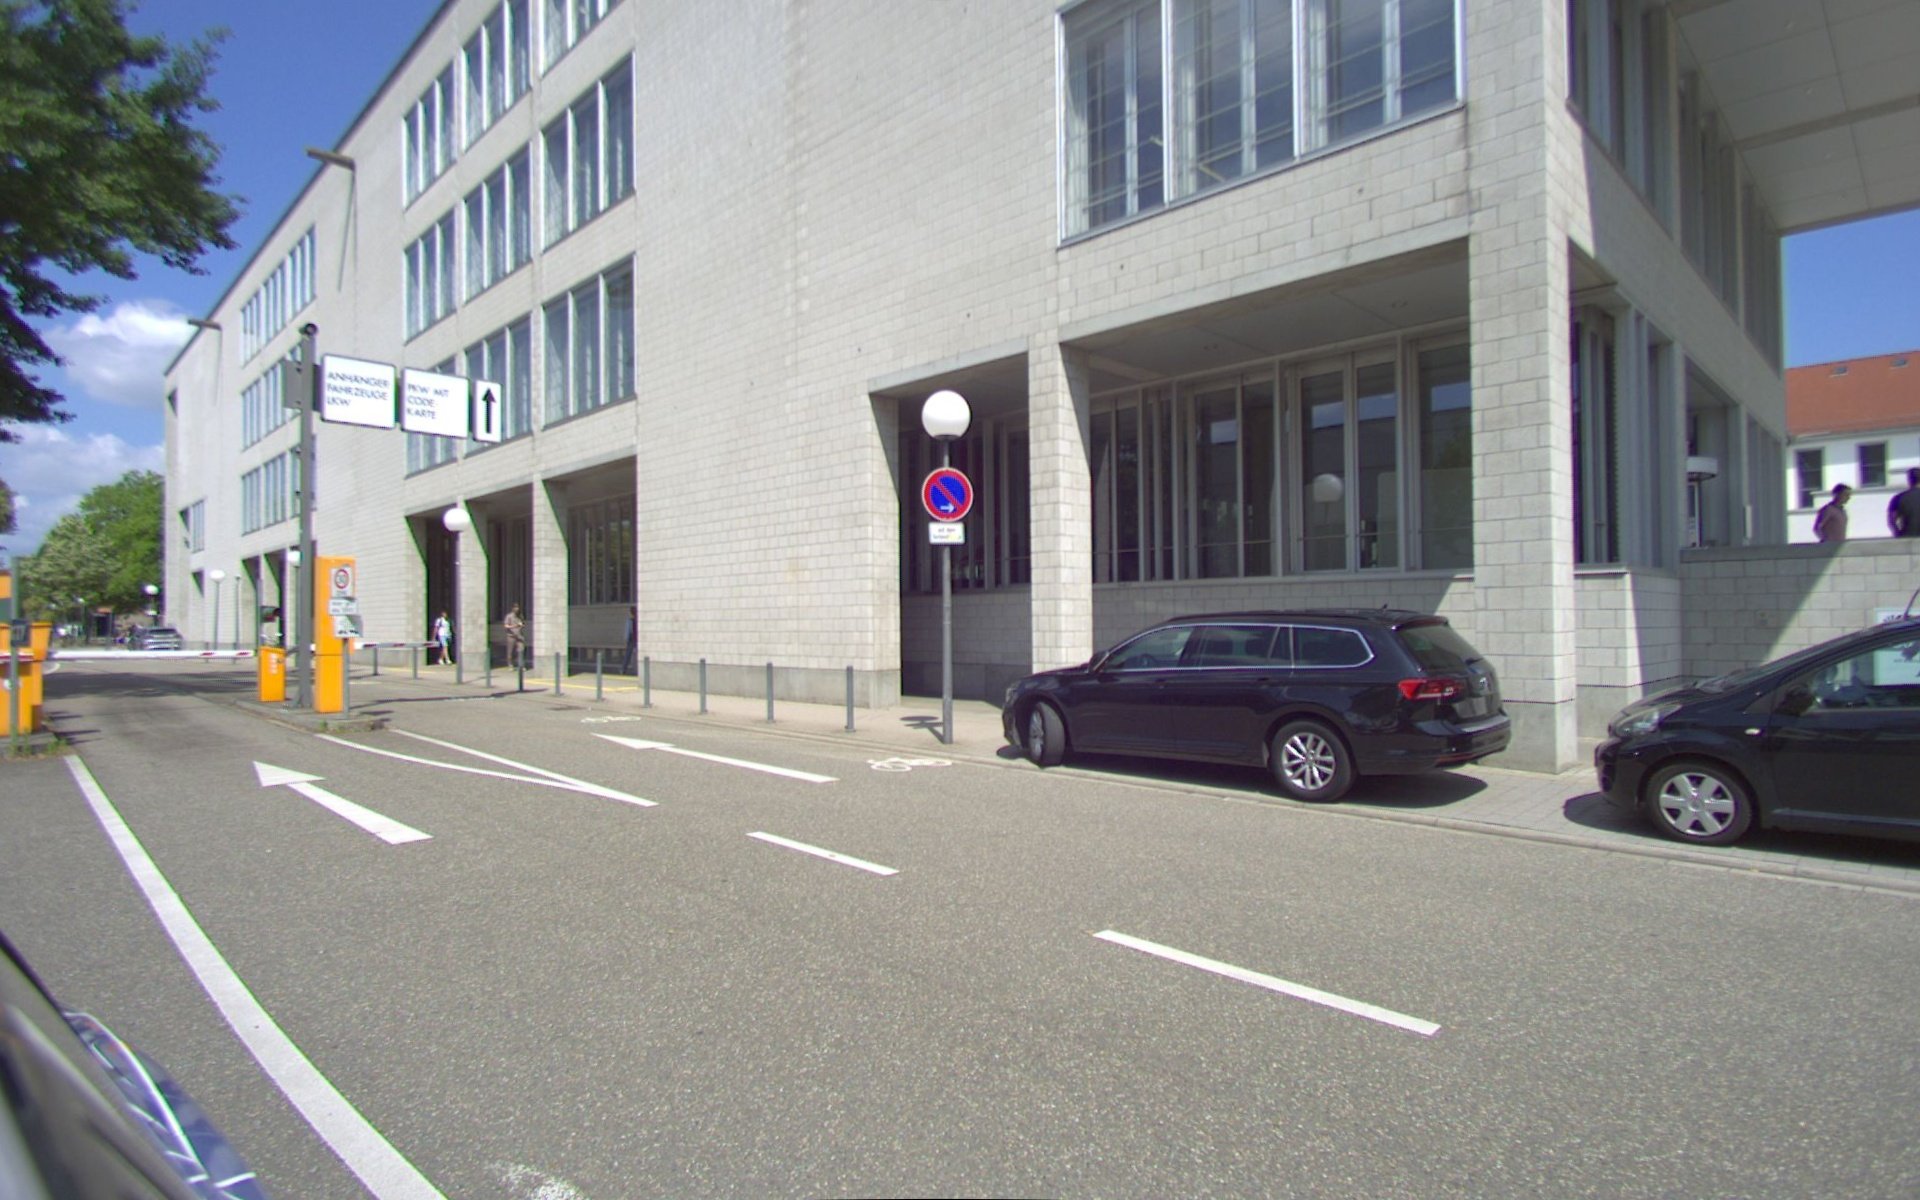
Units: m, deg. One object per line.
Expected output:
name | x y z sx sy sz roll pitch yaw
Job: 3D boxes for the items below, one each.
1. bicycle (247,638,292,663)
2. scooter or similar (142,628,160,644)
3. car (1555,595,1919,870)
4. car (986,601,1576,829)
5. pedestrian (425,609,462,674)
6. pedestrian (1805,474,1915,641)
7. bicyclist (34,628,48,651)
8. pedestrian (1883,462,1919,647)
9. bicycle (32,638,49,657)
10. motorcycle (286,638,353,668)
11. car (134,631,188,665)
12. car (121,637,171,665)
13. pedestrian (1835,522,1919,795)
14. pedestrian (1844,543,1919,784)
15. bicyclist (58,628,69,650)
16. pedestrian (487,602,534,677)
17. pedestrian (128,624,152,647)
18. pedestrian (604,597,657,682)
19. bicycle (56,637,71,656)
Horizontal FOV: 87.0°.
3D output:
bicycle | -32.166 2.362 47.157 0.607 1.095 1.622 -2 -1 40
scooter or similar | -65.053 2.865 81.375 0.702 1.200 1.620 0 0 -23
car | 5.909 0.723 6.076 1.620 1.478 3.709 -2 0 -45
car | 2.592 0.829 9.113 1.838 1.478 4.721 -2 0 -45
pedestrian | -16.734 1.329 32.784 0.846 2.029 0.882 0 -1 -42
pedestrian | 12.090 -0.552 13.615 0.693 2.161 0.807 -1 -1 -15
bicyclist | -72.898 3.139 80.251 0.733 1.790 0.751 -2 -1 41
pedestrian | 10.969 -0.505 11.286 0.966 2.029 0.911 0 -1 -45
bicycle | -72.918 3.746 80.277 2.061 1.505 0.787 -2 -1 41
motorcycle | -25.708 2.104 40.653 0.773 1.146 2.147 -2 -2 35
car | -40.585 2.384 51.374 1.706 1.546 4.409 -2 1 -44
car | -44.641 2.748 55.461 1.706 1.434 4.668 0 -2 -44
pedestrian | 7.544 0.434 7.795 1.164 2.029 0.974 -2 -2 41
pedestrian | 8.489 0.535 8.782 1.164 2.029 0.974 -2 -2 41
bicyclist | -72.466 3.158 81.800 0.696 1.778 0.601 -2 -1 41
pedestrian | -12.419 1.081 27.956 1.066 2.029 0.838 -2 -2 43
pedestrian | -67.424 2.924 83.217 1.370 1.838 1.380 -2 -1 45
pedestrian | -8.065 0.965 24.753 1.066 2.029 0.838 -2 -2 43
bicycle | -72.455 3.762 81.783 1.935 1.505 0.631 -2 -1 41
